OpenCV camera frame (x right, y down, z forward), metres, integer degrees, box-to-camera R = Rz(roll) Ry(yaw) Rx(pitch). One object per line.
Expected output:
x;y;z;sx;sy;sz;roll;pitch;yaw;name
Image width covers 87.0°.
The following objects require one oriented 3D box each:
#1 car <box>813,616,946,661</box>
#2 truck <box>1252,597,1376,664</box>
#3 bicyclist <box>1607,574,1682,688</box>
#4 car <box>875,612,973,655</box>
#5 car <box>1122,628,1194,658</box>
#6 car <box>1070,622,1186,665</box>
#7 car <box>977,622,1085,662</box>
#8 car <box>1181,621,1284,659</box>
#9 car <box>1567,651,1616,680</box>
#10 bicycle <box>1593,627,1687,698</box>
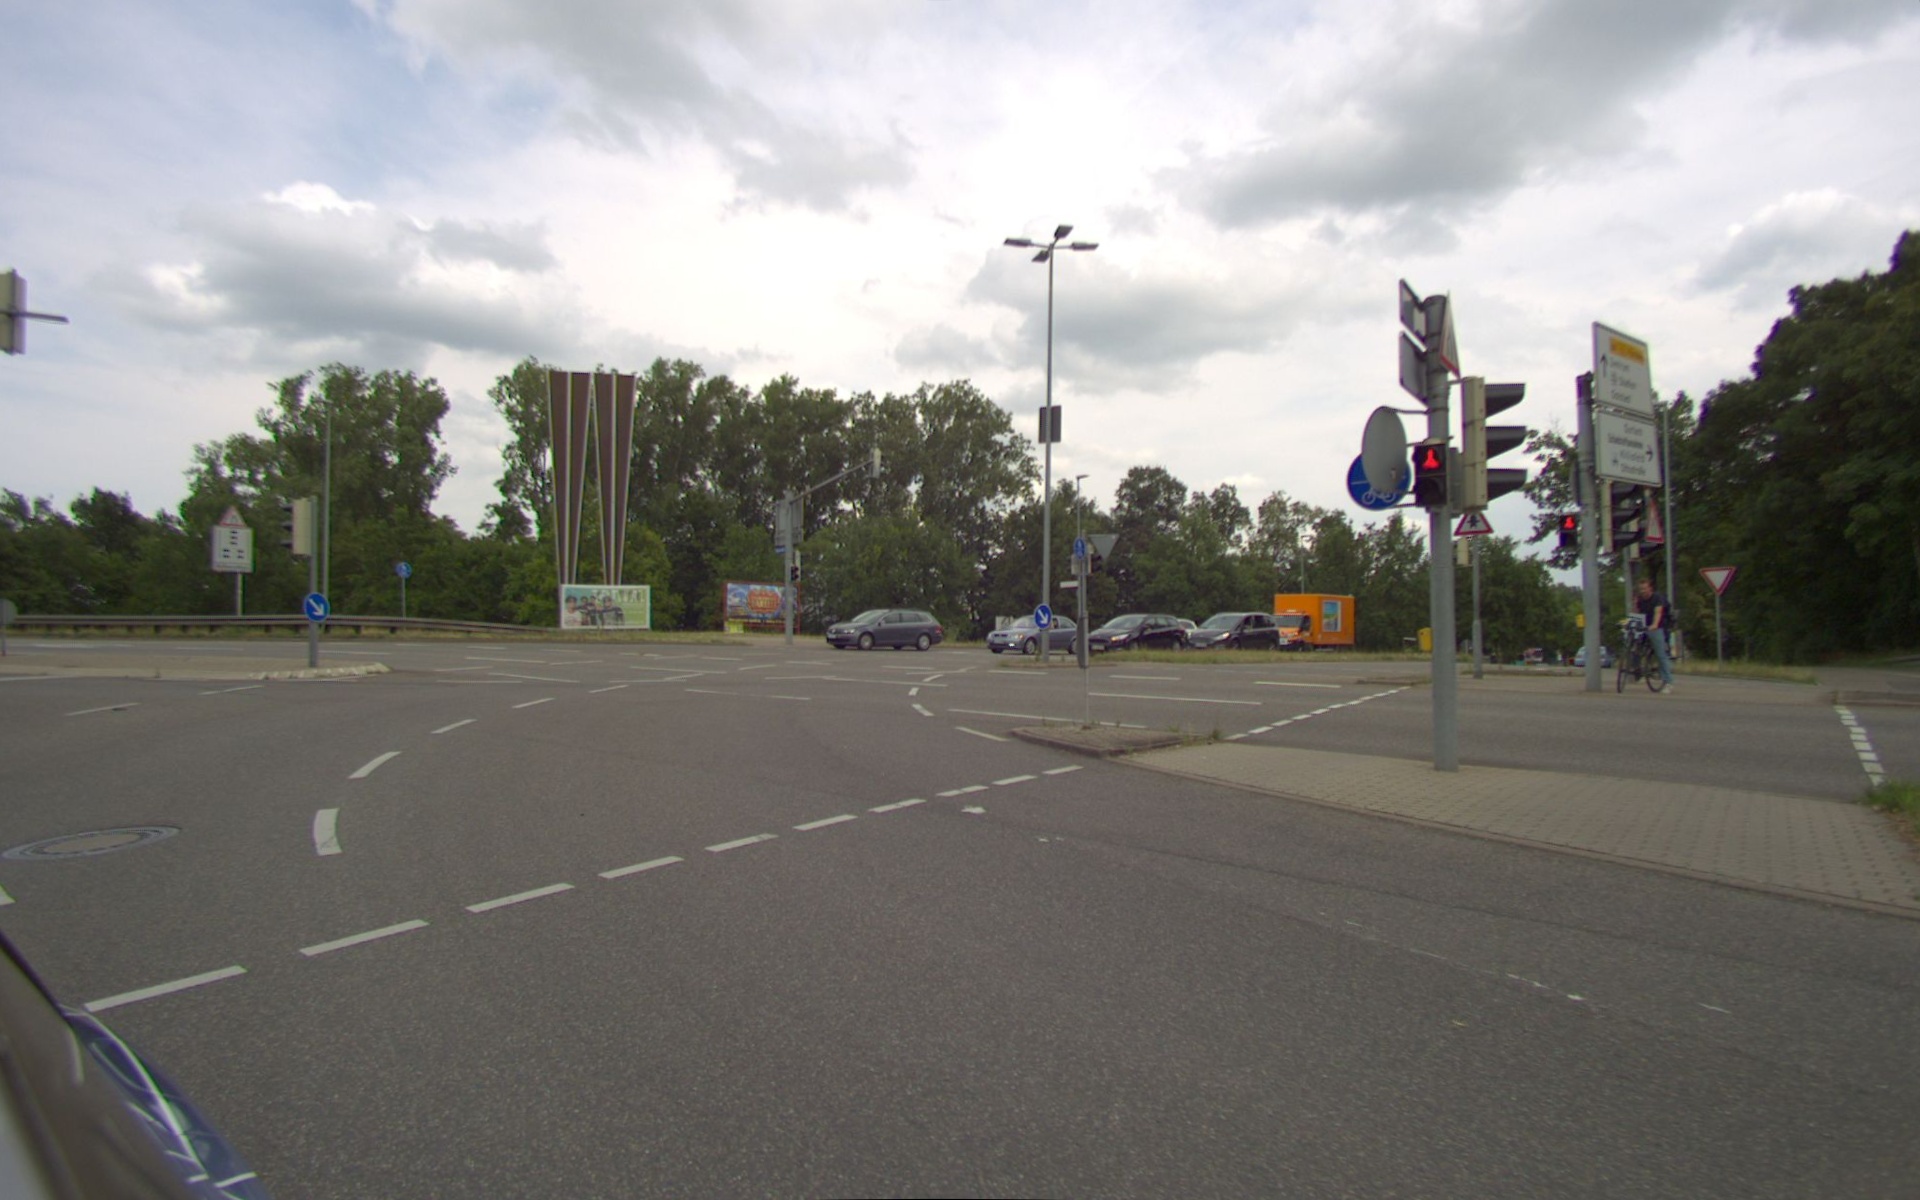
-2.820;1.325;35.788;4.306;1.500;2.004;1;-1;-37;car
18.439;1.492;52.277;2.970;3.159;9.151;-1;-1;40;truck
10.901;0.497;16.121;0.733;1.748;0.802;3;-2;-38;bicyclist
-1.543;1.452;44.924;1.928;1.796;4.195;-1;-1;45;car
9.338;1.979;47.559;1.642;1.320;3.833;-1;-1;40;car
5.609;1.402;33.584;1.999;1.320;4.015;-1;-1;41;car
2.569;1.438;35.941;1.999;1.320;3.754;-1;-1;41;car
10.391;1.469;38.447;1.999;1.320;4.511;-1;-1;41;car
36.536;3.811;58.512;1.892;1.467;3.947;-1;-5;40;car
10.835;0.994;16.096;1.913;1.060;0.709;4;-3;-39;bicycle
